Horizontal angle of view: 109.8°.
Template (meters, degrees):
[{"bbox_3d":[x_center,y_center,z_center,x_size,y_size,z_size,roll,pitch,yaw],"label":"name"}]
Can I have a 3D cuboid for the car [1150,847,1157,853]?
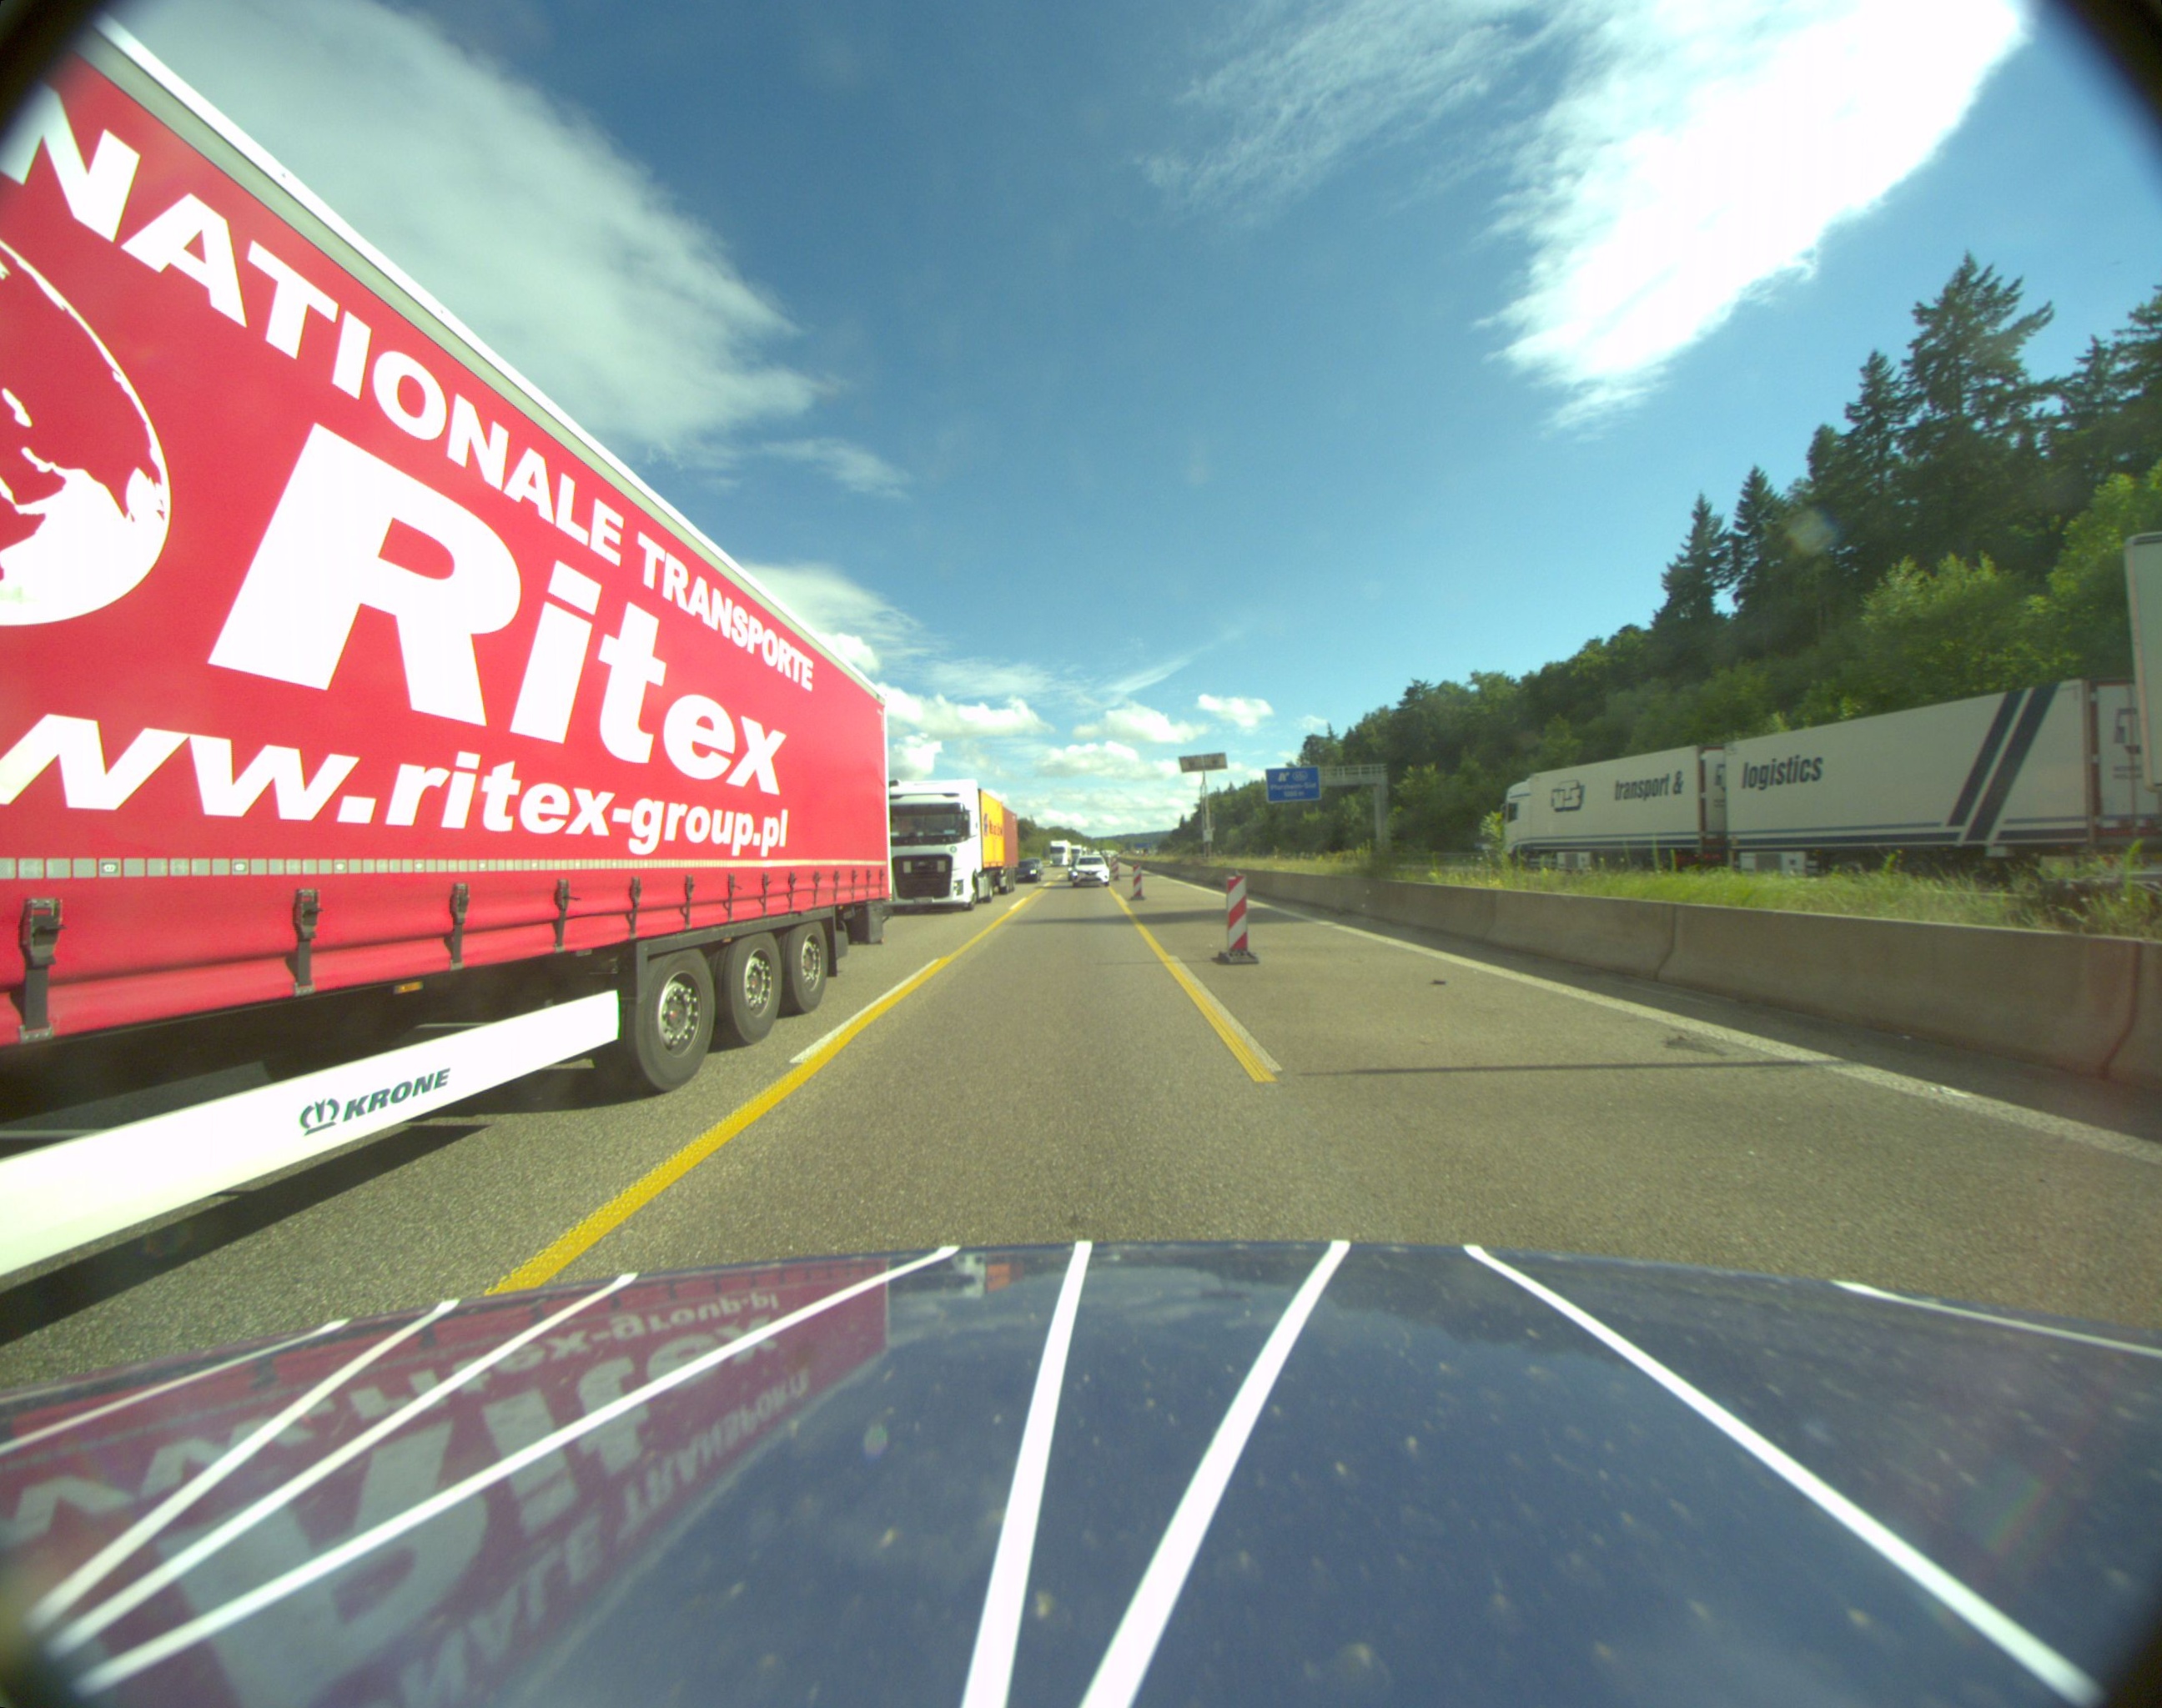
[{"bbox_3d":[20.861,-1.130,218.631,1.665,1.572,3.911,-2,1,0],"label":"car"}]

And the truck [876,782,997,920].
[{"bbox_3d":[-4.340,-0.111,24.015,2.501,3.759,5.789,-2,1,1],"label":"truck"}]

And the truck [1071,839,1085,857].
[{"bbox_3d":[-0.759,-1.319,179.851,2.640,4.093,8.196,-2,0,3],"label":"truck"}]

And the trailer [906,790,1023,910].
[{"bbox_3d":[-4.243,-0.160,30.617,2.477,3.753,12.135,-2,0,1],"label":"trailer"}]

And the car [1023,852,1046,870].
[{"bbox_3d":[-4.092,0.608,67.633,1.762,1.471,3.967,-2,1,1],"label":"car"}]

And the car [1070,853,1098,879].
[{"bbox_3d":[0.222,0.751,49.053,1.692,1.471,3.753,-2,1,1],"label":"car"}]

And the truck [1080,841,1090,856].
[{"bbox_3d":[1.130,-1.649,216.624,2.641,4.092,8.195,-3,0,0],"label":"truck"}]

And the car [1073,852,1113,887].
[{"bbox_3d":[0.550,0.729,38.209,1.840,1.528,3.882,-2,1,-1],"label":"car"}]

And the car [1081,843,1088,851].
[{"bbox_3d":[0.946,-2.142,218.233,1.998,2.188,3.999,-2,1,1],"label":"car"}]

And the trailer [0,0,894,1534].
[{"bbox_3d":[-4.087,-0.274,4.142,2.707,3.946,13.415,-2,1,0],"label":"trailer"}]

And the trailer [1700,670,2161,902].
[{"bbox_3d":[18.849,-1.242,17.129,2.798,3.901,8.487,-2,1,0],"label":"trailer"}]

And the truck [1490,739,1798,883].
[{"bbox_3d":[18.872,-1.293,26.924,2.789,3.962,10.860,-2,1,0],"label":"truck"}]

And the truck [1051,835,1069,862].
[{"bbox_3d":[-3.263,-0.848,120.969,2.641,4.092,8.194,-2,0,-1],"label":"truck"}]

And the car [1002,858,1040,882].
[{"bbox_3d":[-3.710,0.979,47.977,1.933,1.342,4.477,-2,0,1],"label":"car"}]
